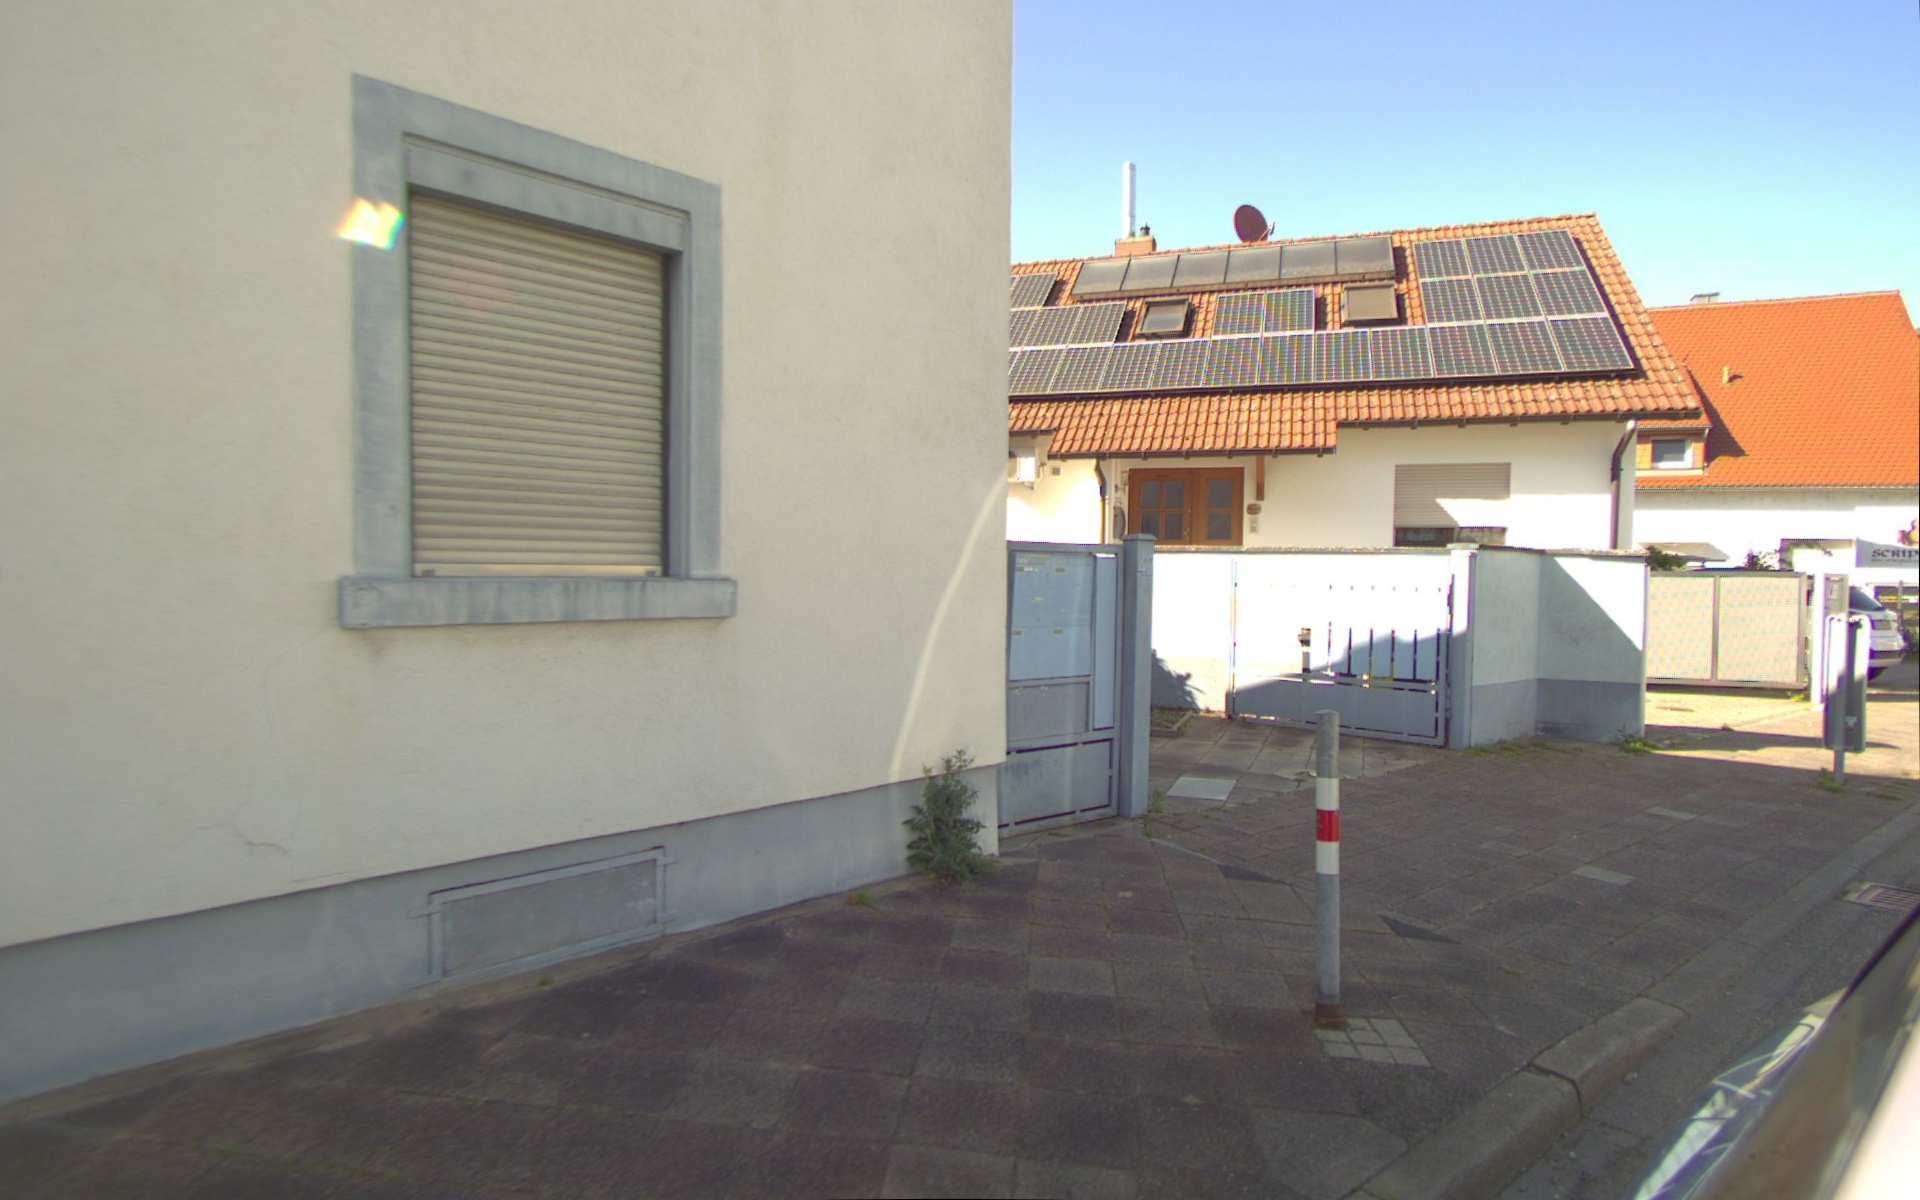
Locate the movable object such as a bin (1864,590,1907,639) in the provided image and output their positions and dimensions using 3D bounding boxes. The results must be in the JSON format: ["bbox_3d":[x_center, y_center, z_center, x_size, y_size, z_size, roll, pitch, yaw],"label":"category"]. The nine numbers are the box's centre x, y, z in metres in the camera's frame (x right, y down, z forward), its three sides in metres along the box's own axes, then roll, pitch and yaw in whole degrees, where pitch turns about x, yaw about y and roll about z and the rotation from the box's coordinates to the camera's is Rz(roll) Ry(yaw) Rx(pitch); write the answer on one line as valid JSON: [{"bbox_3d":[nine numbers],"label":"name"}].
[{"bbox_3d":[18.325,0.282,20.047,0.511,0.934,0.419,-1,1,26],"label":"movable object such as a bin"}]

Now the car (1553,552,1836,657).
[{"bbox_3d":[13.607,0.007,19.094,4.013,1.709,1.893,3,2,29],"label":"car"}]

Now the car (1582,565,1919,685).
[{"bbox_3d":[12.151,0.258,15.634,1.809,1.510,3.933,0,3,-26],"label":"car"}]
